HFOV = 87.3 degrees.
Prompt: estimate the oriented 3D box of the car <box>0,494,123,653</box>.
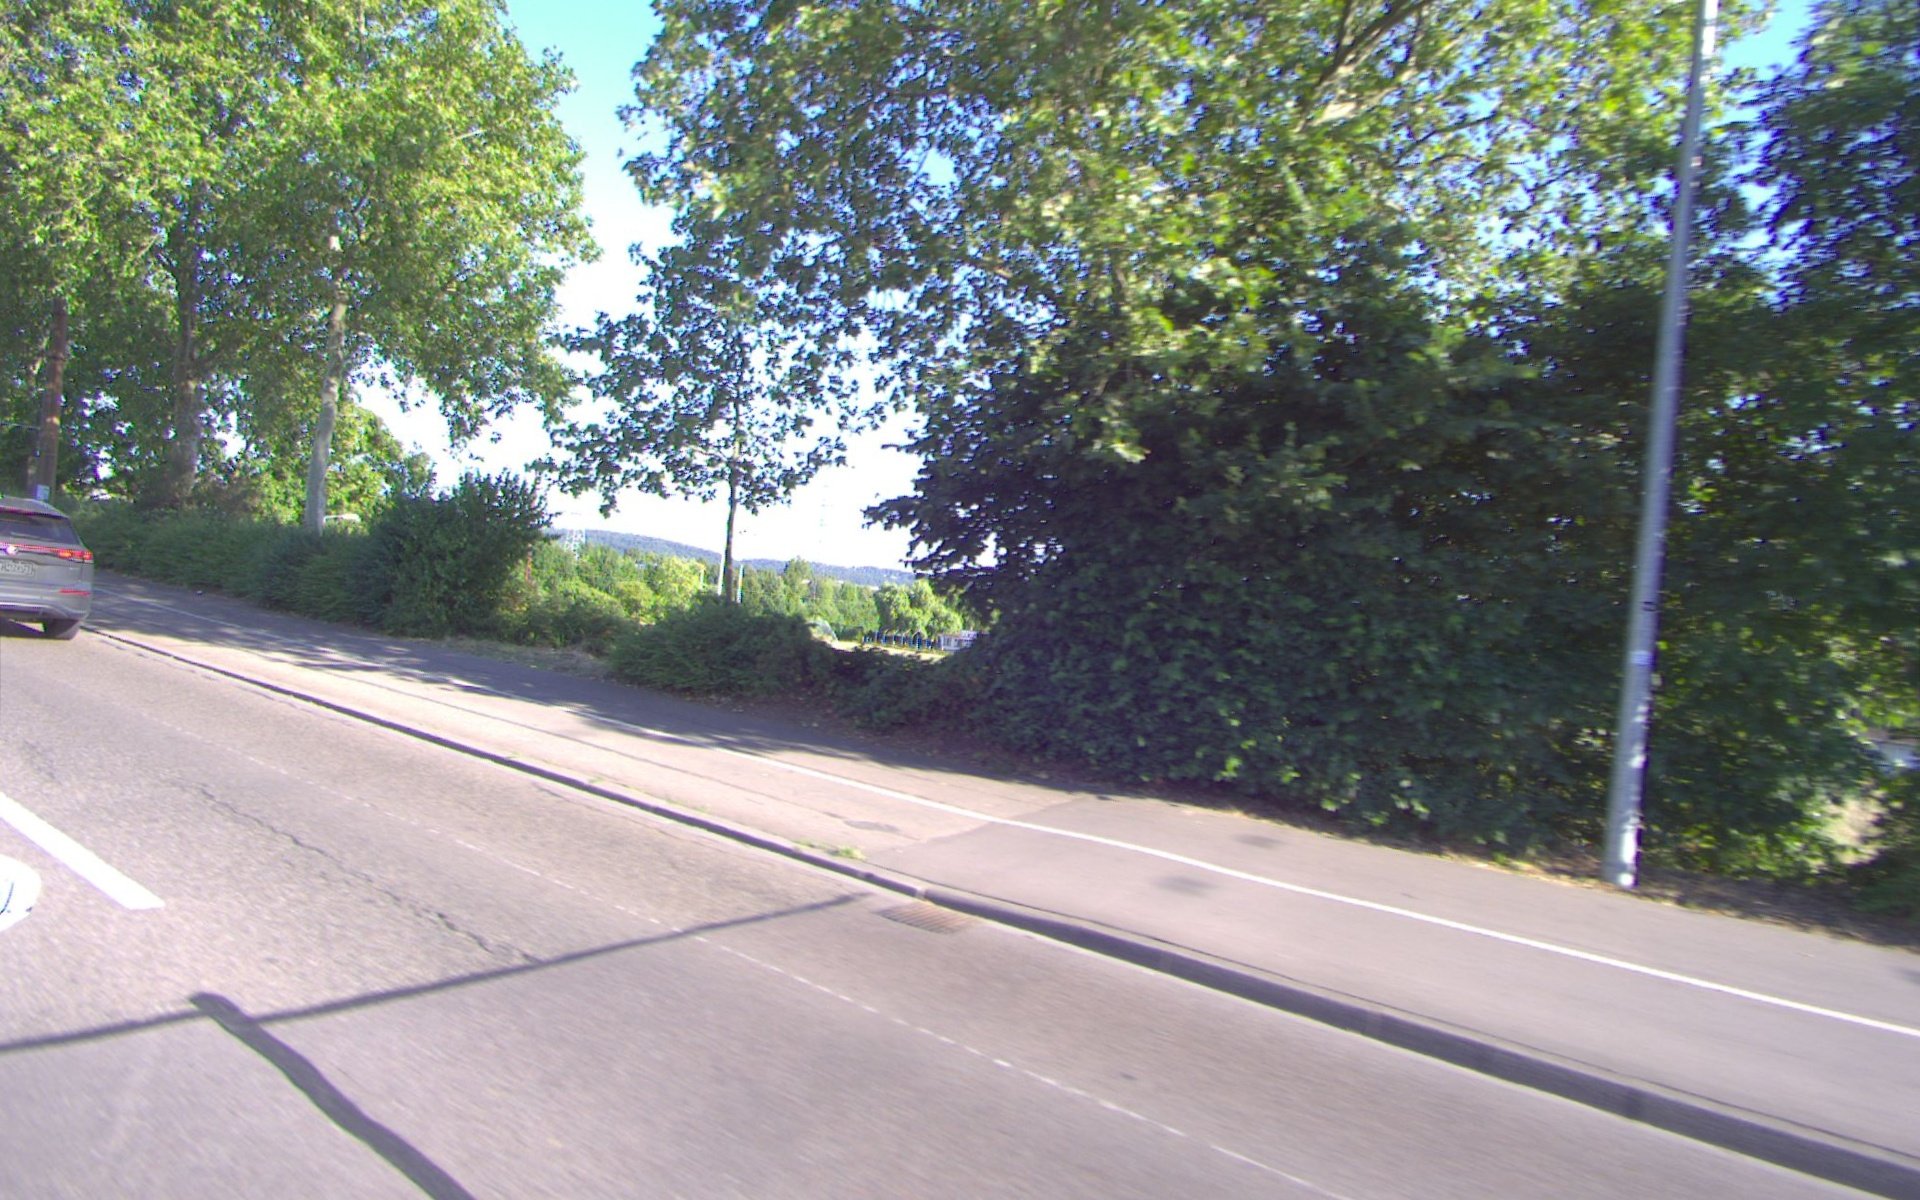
[{"bbox_3d":[-12.292,-0.505,12.282,4.367,1.680,1.847,6,-2,33],"label":"car"}]
